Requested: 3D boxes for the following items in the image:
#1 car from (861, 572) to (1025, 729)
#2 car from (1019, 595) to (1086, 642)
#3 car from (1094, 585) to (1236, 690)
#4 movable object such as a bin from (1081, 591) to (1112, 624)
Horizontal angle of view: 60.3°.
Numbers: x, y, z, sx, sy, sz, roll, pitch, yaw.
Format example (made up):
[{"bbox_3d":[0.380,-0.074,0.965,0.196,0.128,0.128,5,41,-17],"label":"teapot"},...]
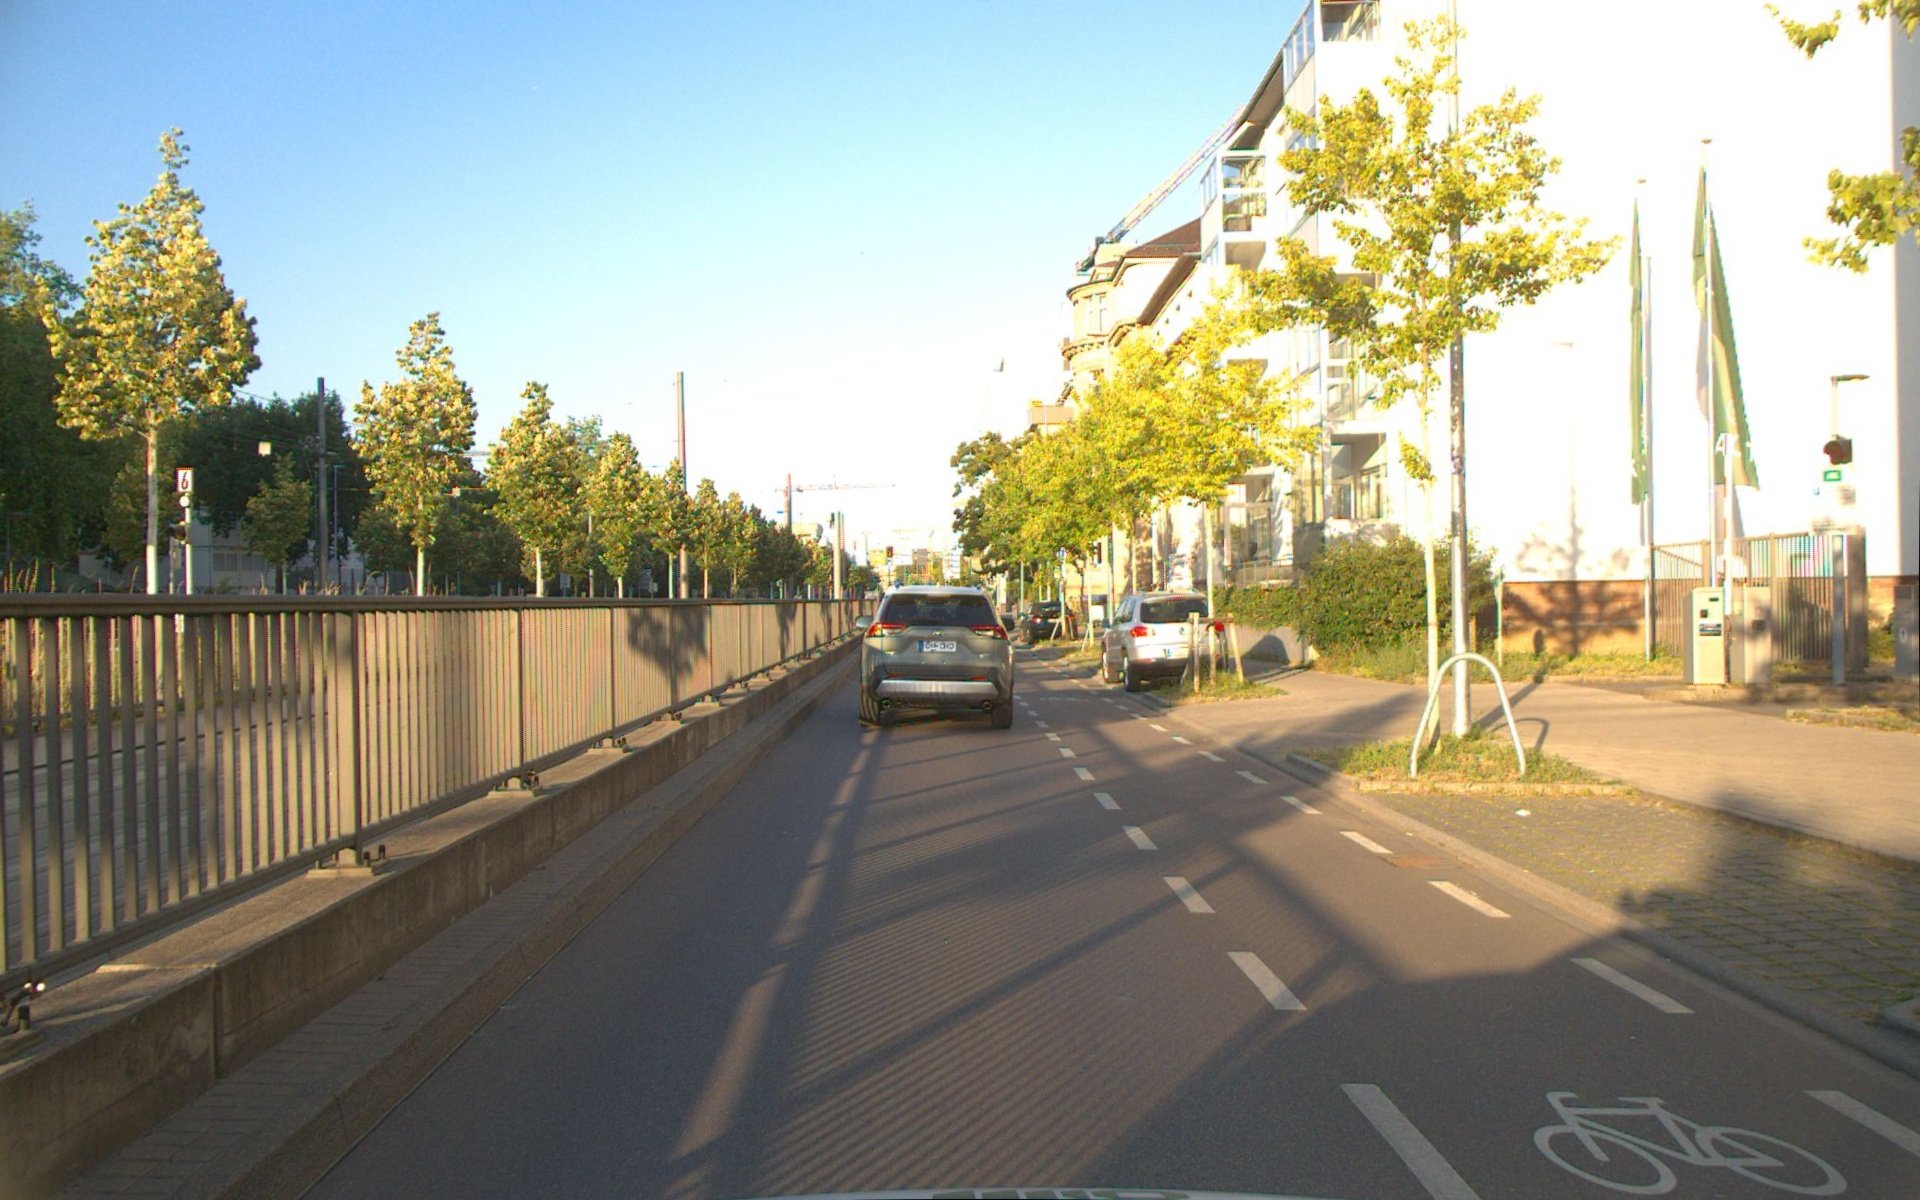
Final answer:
[{"bbox_3d":[-0.294,0.578,20.770,1.821,1.744,4.190,1,0,-3],"label":"car"},{"bbox_3d":[3.253,0.630,58.955,1.757,1.496,4.441,-4,0,-4],"label":"car"},{"bbox_3d":[3.613,0.609,29.846,1.817,1.736,4.251,-1,0,-3],"label":"car"},{"bbox_3d":[6.186,0.321,75.054,1.235,1.487,1.123,0,0,-4],"label":"movable object such as a bin"}]
